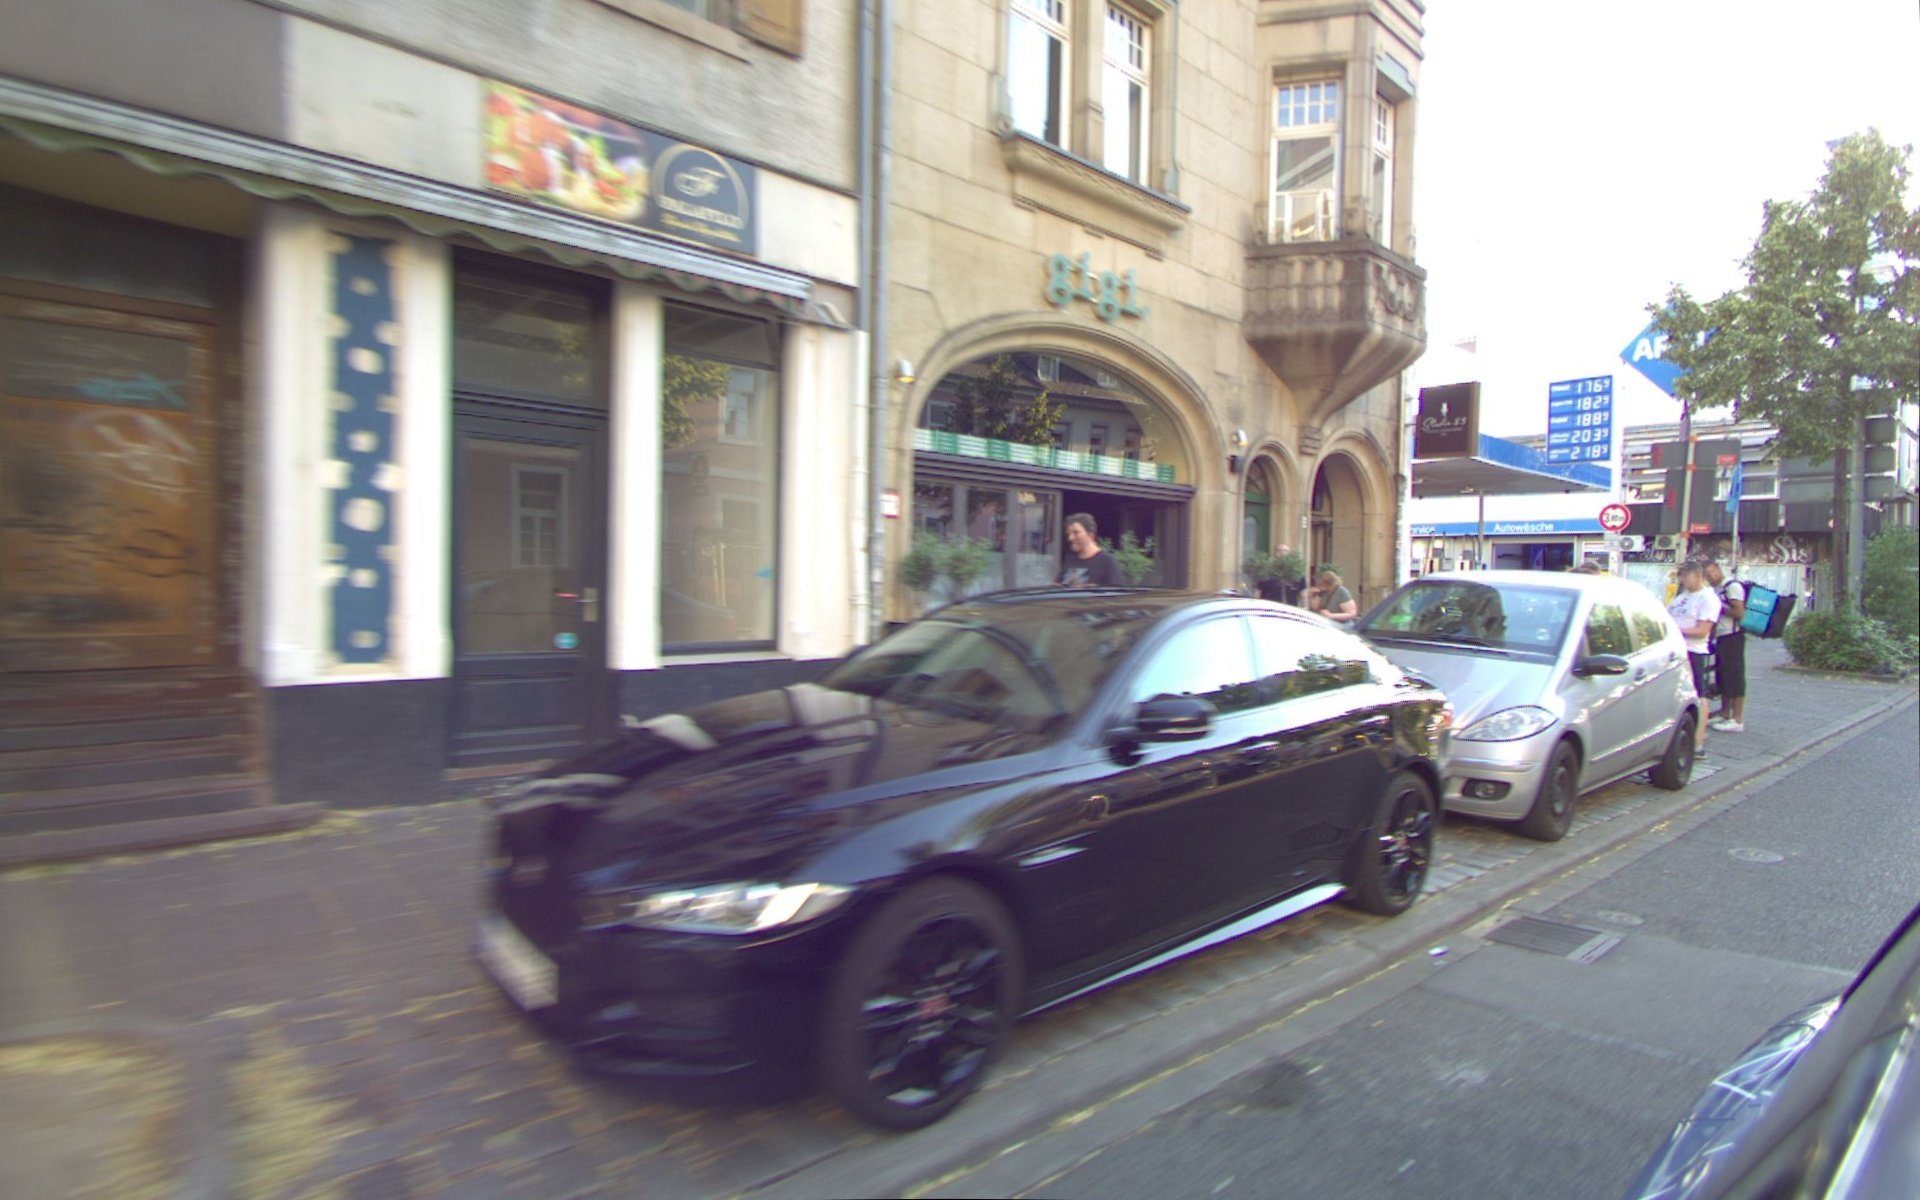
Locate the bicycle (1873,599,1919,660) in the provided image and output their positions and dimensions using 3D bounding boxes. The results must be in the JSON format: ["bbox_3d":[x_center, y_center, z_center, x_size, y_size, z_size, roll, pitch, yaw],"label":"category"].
[{"bbox_3d":[19.455,0.611,20.453,1.646,1.156,0.485,2,3,-10],"label":"bicycle"}]

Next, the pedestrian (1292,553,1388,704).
[{"bbox_3d":[4.200,0.290,11.197,0.689,1.581,0.660,0,4,-40],"label":"pedestrian"}]

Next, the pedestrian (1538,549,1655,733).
[{"bbox_3d":[6.265,0.374,9.997,0.642,1.720,0.667,3,3,5],"label":"pedestrian"}]

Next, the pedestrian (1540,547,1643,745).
[{"bbox_3d":[5.918,0.390,9.479,0.675,1.726,0.815,4,4,35],"label":"pedestrian"}]

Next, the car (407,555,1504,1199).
[{"bbox_3d":[0.400,0.596,4.191,4.445,1.392,1.789,-1,4,-42],"label":"car"}]

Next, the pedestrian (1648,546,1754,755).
[{"bbox_3d":[6.676,0.411,9.112,0.676,1.775,0.814,2,2,39],"label":"pedestrian"}]

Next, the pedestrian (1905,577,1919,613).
[{"bbox_3d":[41.216,-0.206,43.576,0.759,1.544,0.612,0,2,-40],"label":"pedestrian"}]

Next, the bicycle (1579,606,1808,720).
[{"bbox_3d":[8.251,0.694,11.452,1.889,1.112,0.868,2,3,-1],"label":"bicycle"}]

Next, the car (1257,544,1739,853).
[{"bbox_3d":[4.034,0.482,7.320,3.942,1.594,1.691,0,4,-41],"label":"car"}]

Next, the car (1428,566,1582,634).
[{"bbox_3d":[13.504,-0.078,24.940,4.824,1.448,1.738,-2,4,-41],"label":"car"}]

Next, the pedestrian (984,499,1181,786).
[{"bbox_3d":[0.883,0.248,7.283,1.078,1.876,0.824,0,4,-42],"label":"pedestrian"}]

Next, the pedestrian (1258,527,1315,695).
[{"bbox_3d":[3.802,0.109,11.769,0.458,1.898,0.495,2,2,34],"label":"pedestrian"}]

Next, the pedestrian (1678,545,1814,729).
[{"bbox_3d":[8.479,0.358,10.935,1.013,1.847,0.769,5,4,40],"label":"pedestrian"}]
